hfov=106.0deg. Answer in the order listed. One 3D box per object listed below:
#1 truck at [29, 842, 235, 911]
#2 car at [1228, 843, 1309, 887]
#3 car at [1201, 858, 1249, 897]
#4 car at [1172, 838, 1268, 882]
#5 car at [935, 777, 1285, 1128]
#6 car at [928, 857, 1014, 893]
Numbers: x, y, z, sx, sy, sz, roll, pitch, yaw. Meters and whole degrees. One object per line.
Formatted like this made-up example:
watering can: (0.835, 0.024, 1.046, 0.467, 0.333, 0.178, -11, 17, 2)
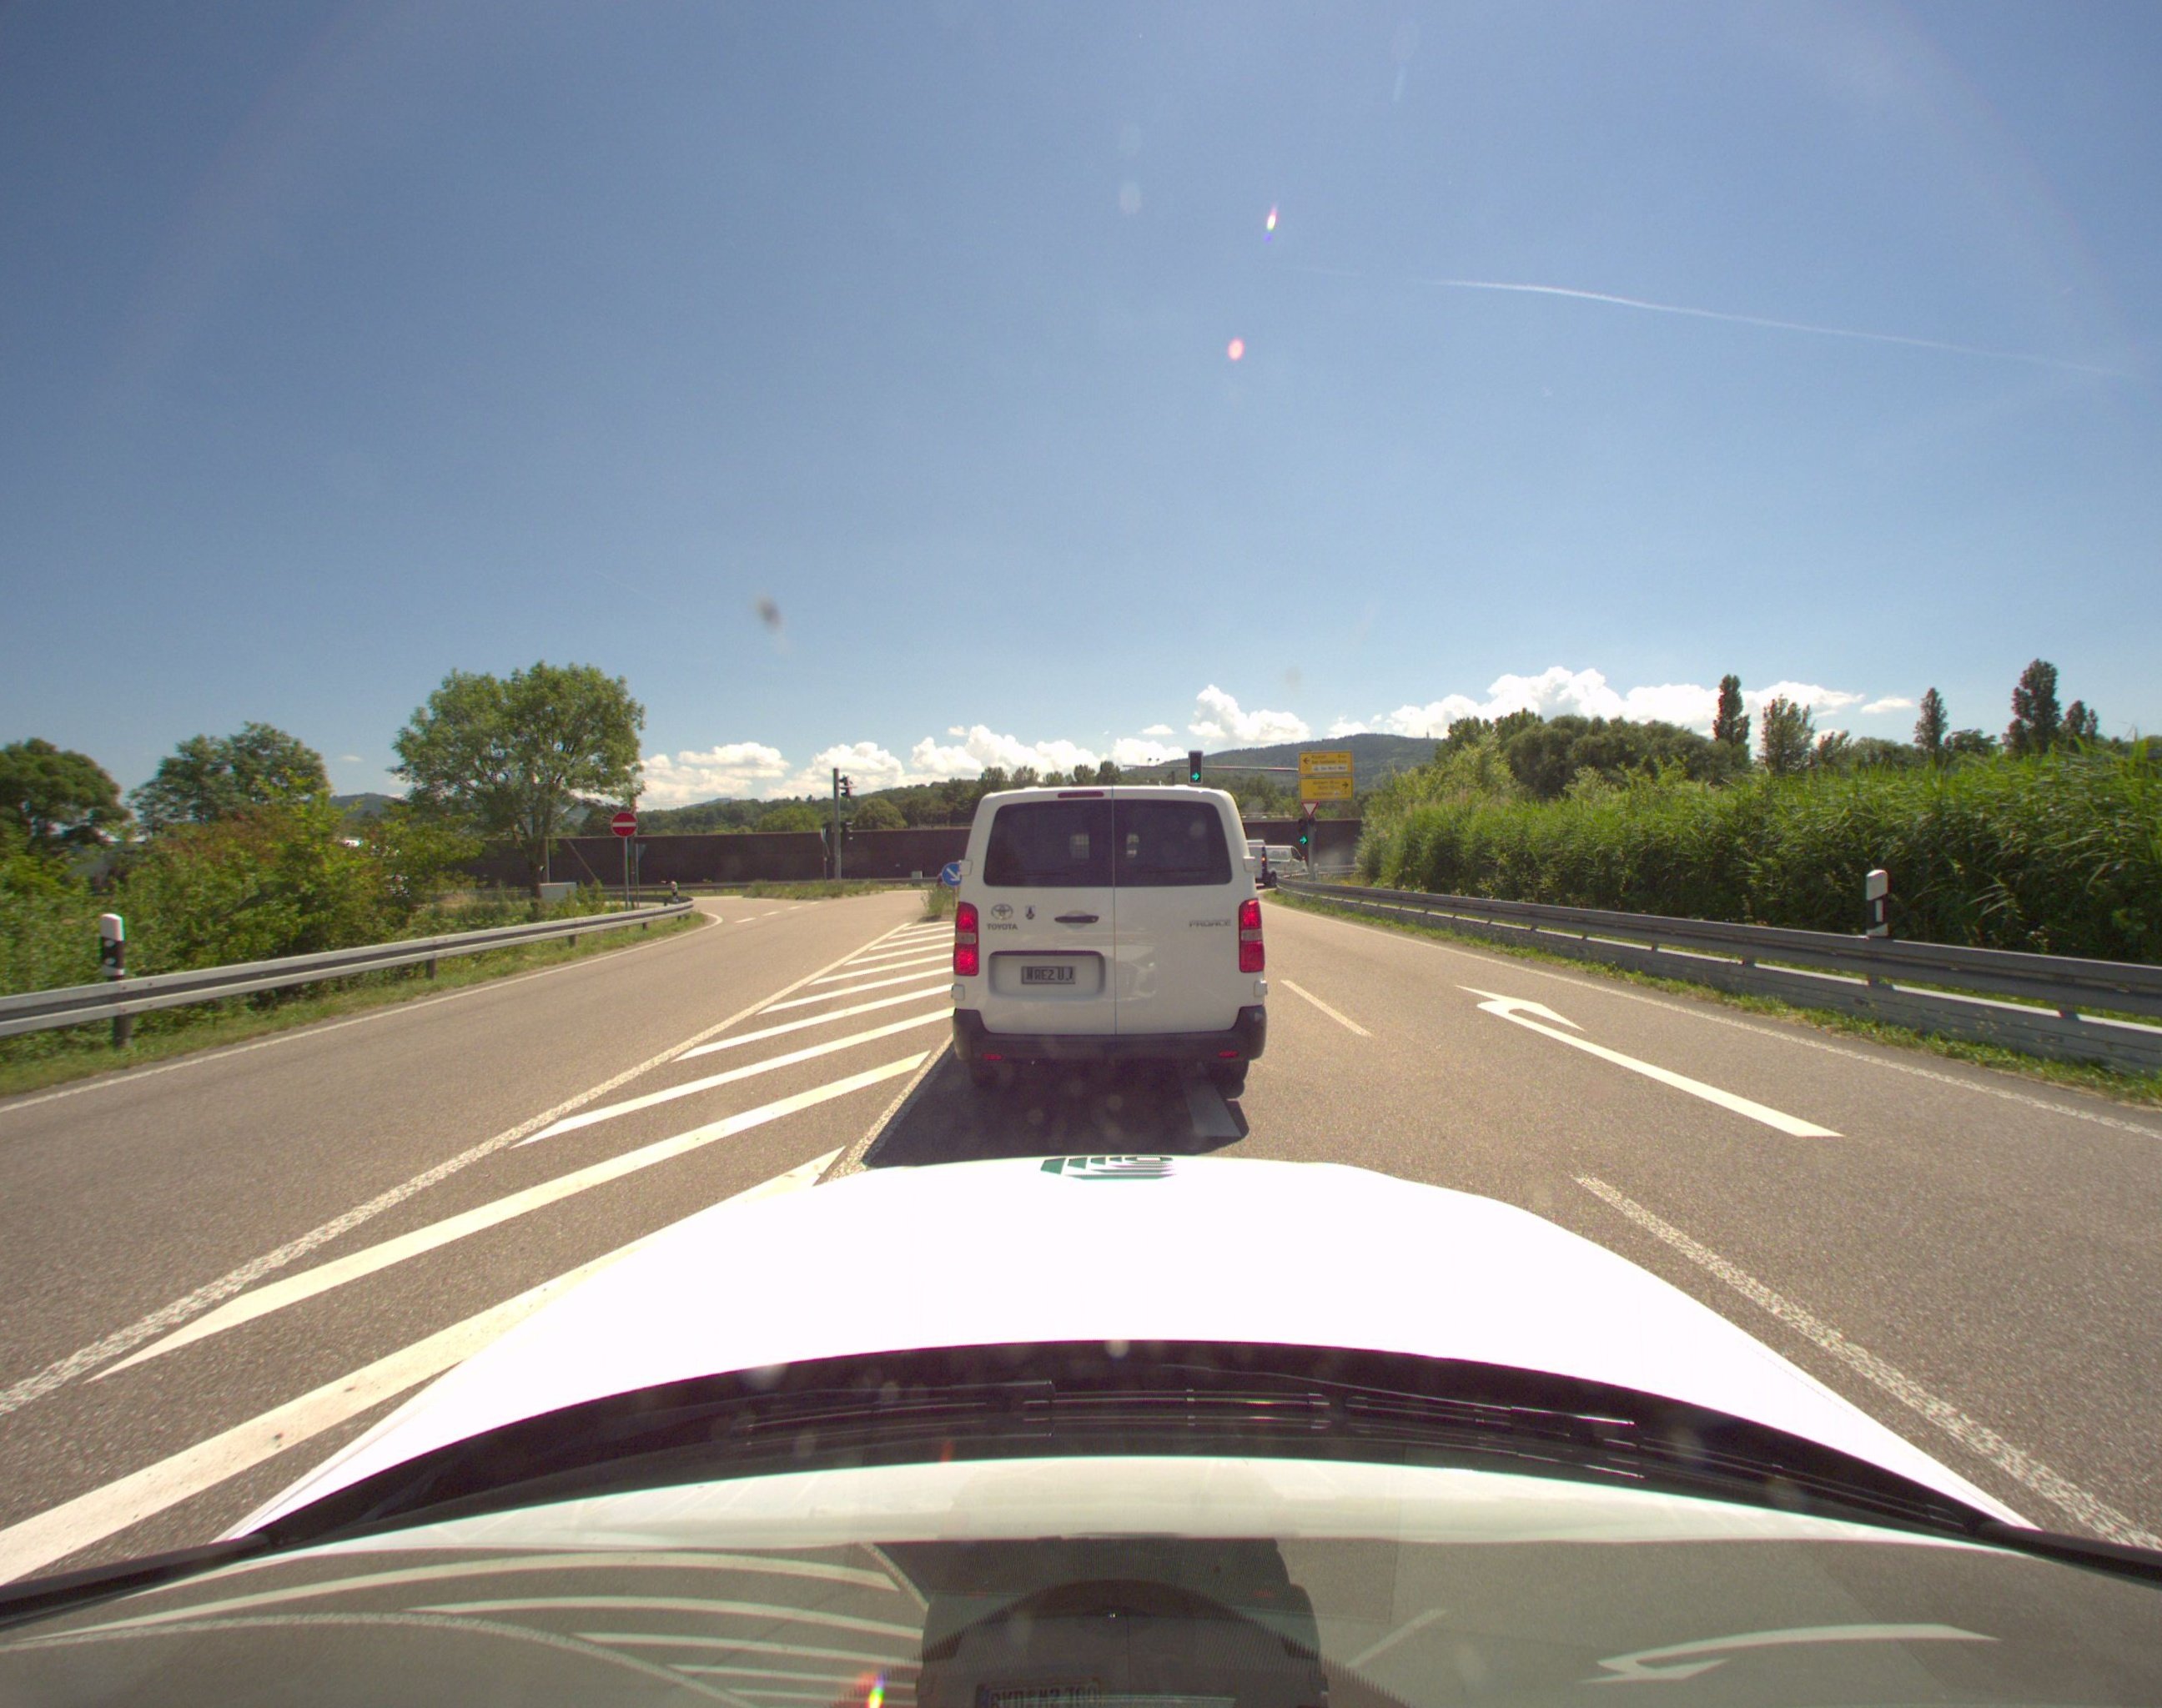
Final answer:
truck: (-51.401, 1.197, 44.200, 9.028, 3.470, 2.128, -1, -1, 3)
car: (9.158, 0.529, 39.479, 1.910, 2.000, 4.868, -1, -1, 38)
car: (5.629, 0.872, 31.619, 1.644, 1.431, 3.377, -1, -1, 13)
car: (8.279, 0.344, 48.723, 5.335, 2.450, 2.036, -1, -1, -5)
car: (0.198, 0.550, 6.430, 1.880, 1.886, 4.001, -1, -1, 1)
car: (-5.255, 0.980, 39.602, 1.975, 1.656, 4.350, -1, -1, 28)
